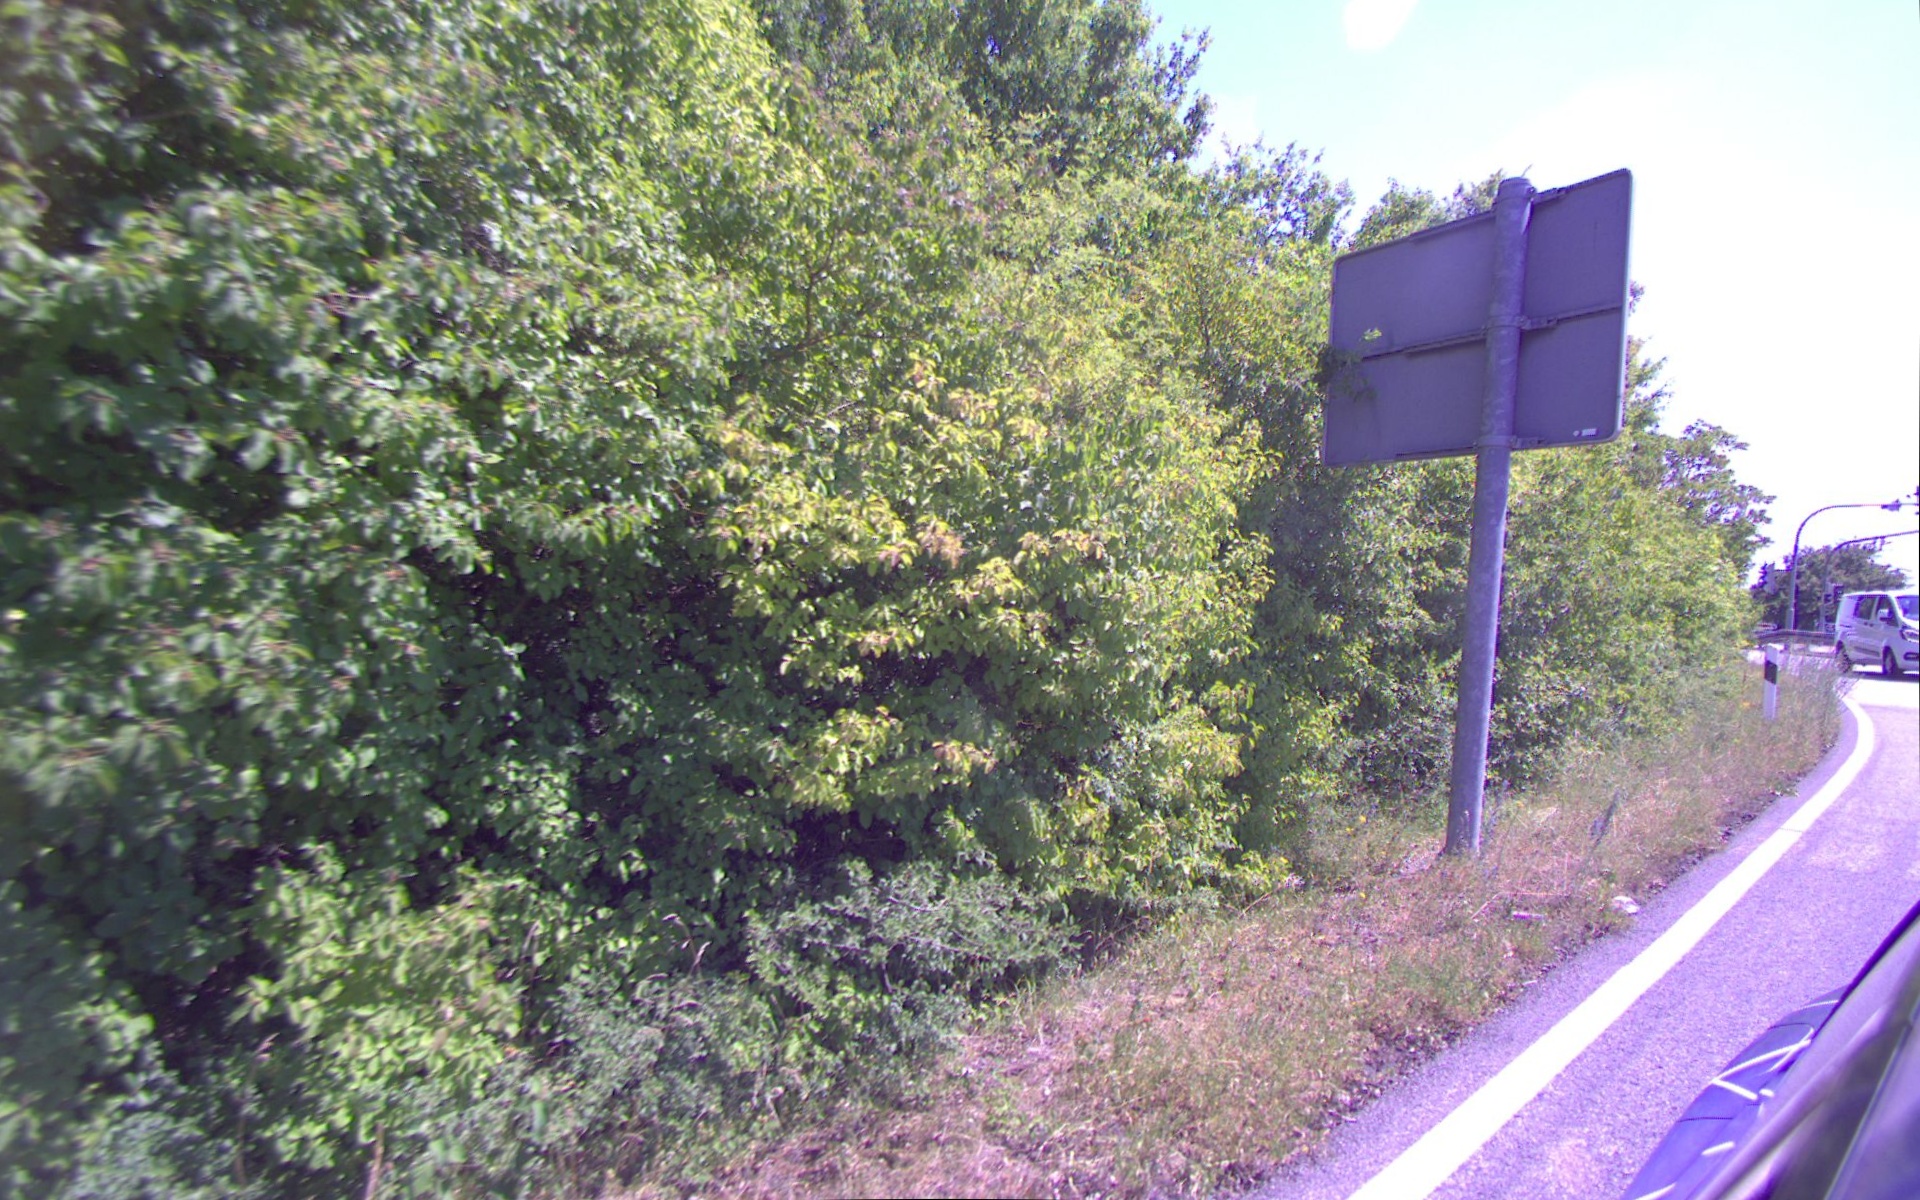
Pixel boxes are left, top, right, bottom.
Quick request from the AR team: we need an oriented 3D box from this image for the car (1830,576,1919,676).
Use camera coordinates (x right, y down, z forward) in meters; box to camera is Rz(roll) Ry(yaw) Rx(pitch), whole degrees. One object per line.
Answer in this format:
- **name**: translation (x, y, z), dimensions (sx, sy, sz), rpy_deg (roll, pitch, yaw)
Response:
- **car**: translation (22.436, 0.514, 23.491), dimensions (2.012, 2.111, 5.818), rpy_deg (0, 1, 27)
